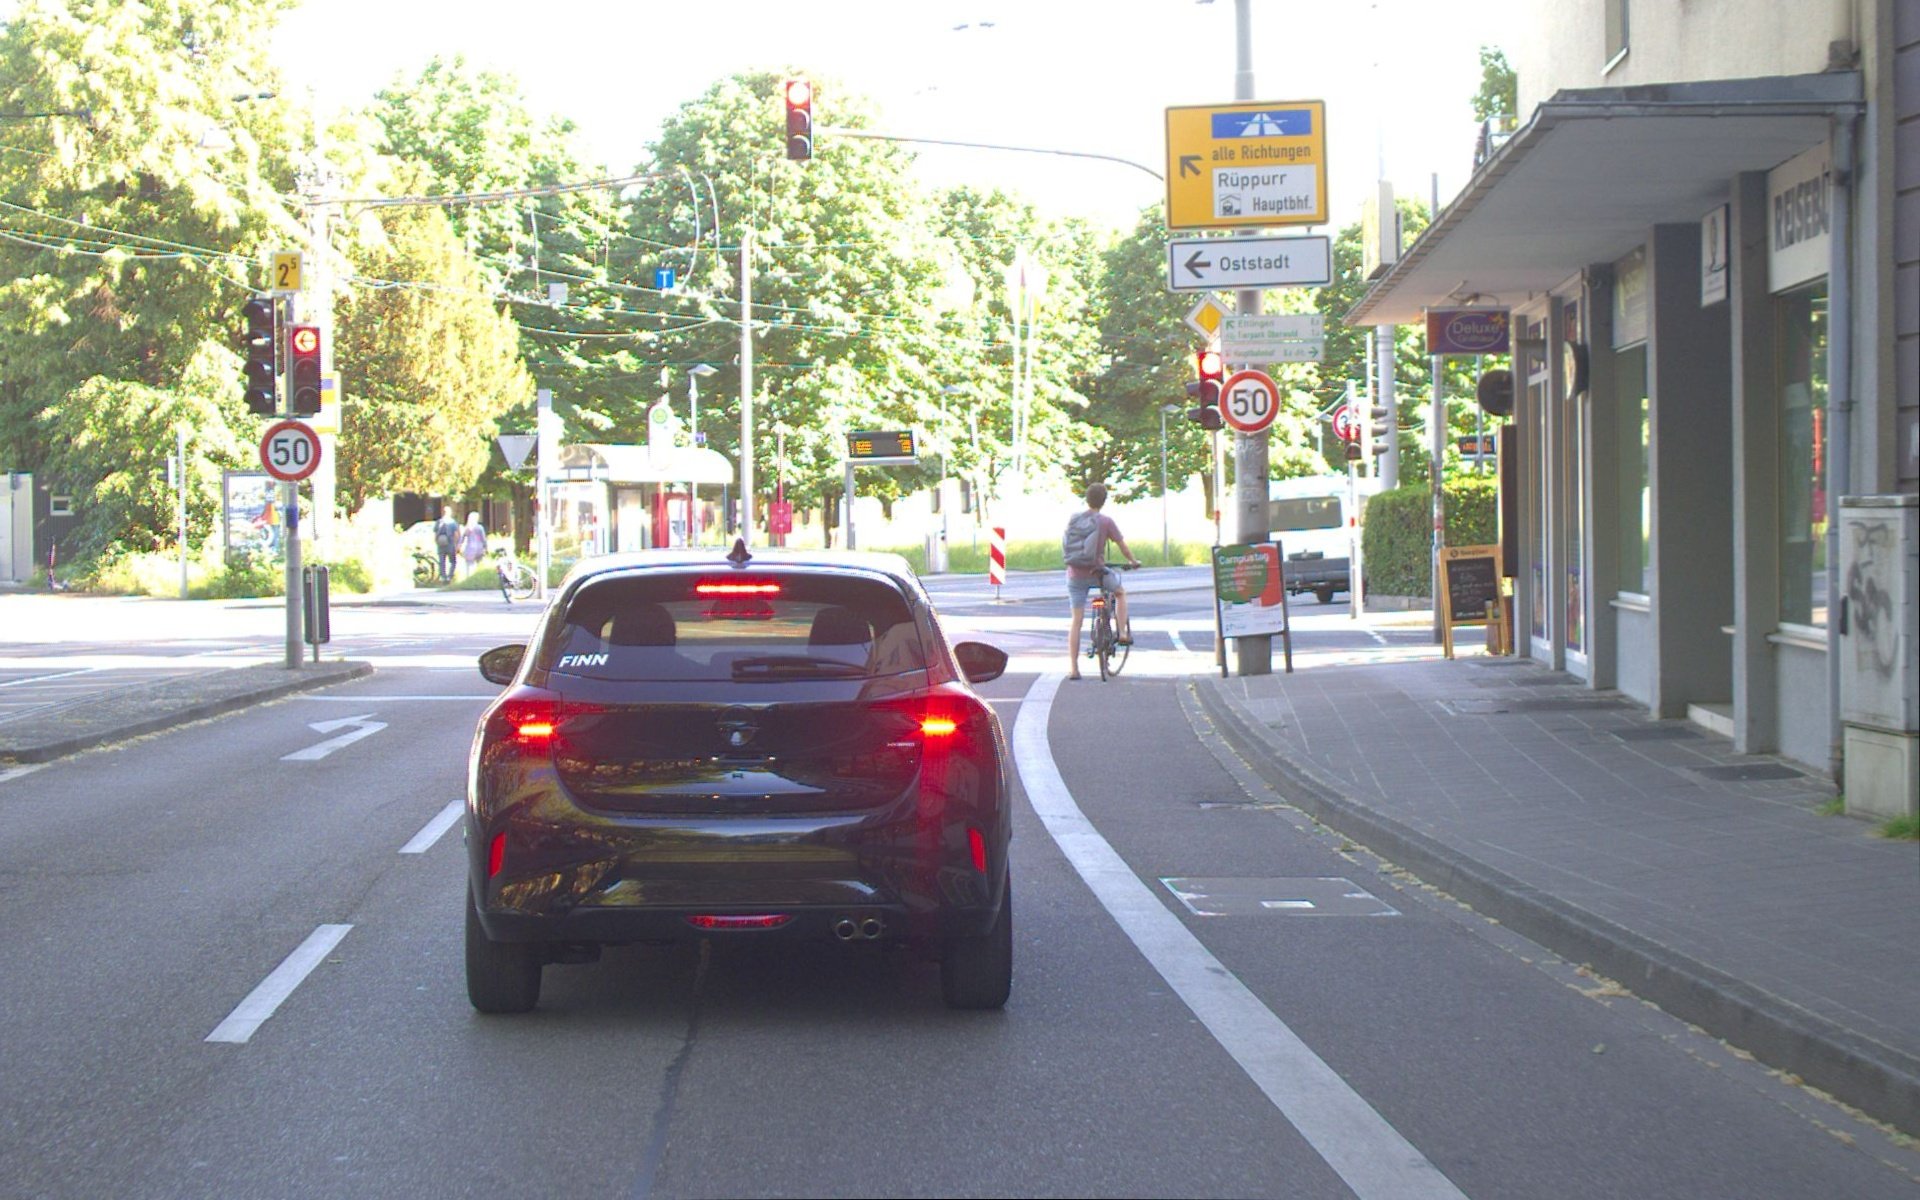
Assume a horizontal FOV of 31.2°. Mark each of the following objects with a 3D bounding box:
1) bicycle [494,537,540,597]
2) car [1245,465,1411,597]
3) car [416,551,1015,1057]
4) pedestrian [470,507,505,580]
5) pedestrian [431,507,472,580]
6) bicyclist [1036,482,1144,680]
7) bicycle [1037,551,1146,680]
[{"bbox_3d":[-7.885,-0.602,61.243,0.605,1.027,1.982,-1,2,-2],"label":"bicycle"},{"bbox_3d":[6.635,-1.253,61.479,2.065,2.241,4.883,0,2,17],"label":"car"},{"bbox_3d":[-0.758,0.561,12.040,1.727,1.424,4.188,0,1,-1],"label":"car"},{"bbox_3d":[-10.617,-1.261,77.221,0.636,1.624,0.572,1,1,6],"label":"pedestrian"},{"bbox_3d":[-11.424,-1.277,77.266,0.751,1.624,0.597,1,1,6],"label":"pedestrian"},{"bbox_3d":[1.235,-0.189,32.817,0.941,1.844,0.864,-1,1,-2],"label":"bicyclist"},{"bbox_3d":[1.240,0.125,32.901,0.860,1.149,2.172,-1,2,-2],"label":"bicycle"}]
